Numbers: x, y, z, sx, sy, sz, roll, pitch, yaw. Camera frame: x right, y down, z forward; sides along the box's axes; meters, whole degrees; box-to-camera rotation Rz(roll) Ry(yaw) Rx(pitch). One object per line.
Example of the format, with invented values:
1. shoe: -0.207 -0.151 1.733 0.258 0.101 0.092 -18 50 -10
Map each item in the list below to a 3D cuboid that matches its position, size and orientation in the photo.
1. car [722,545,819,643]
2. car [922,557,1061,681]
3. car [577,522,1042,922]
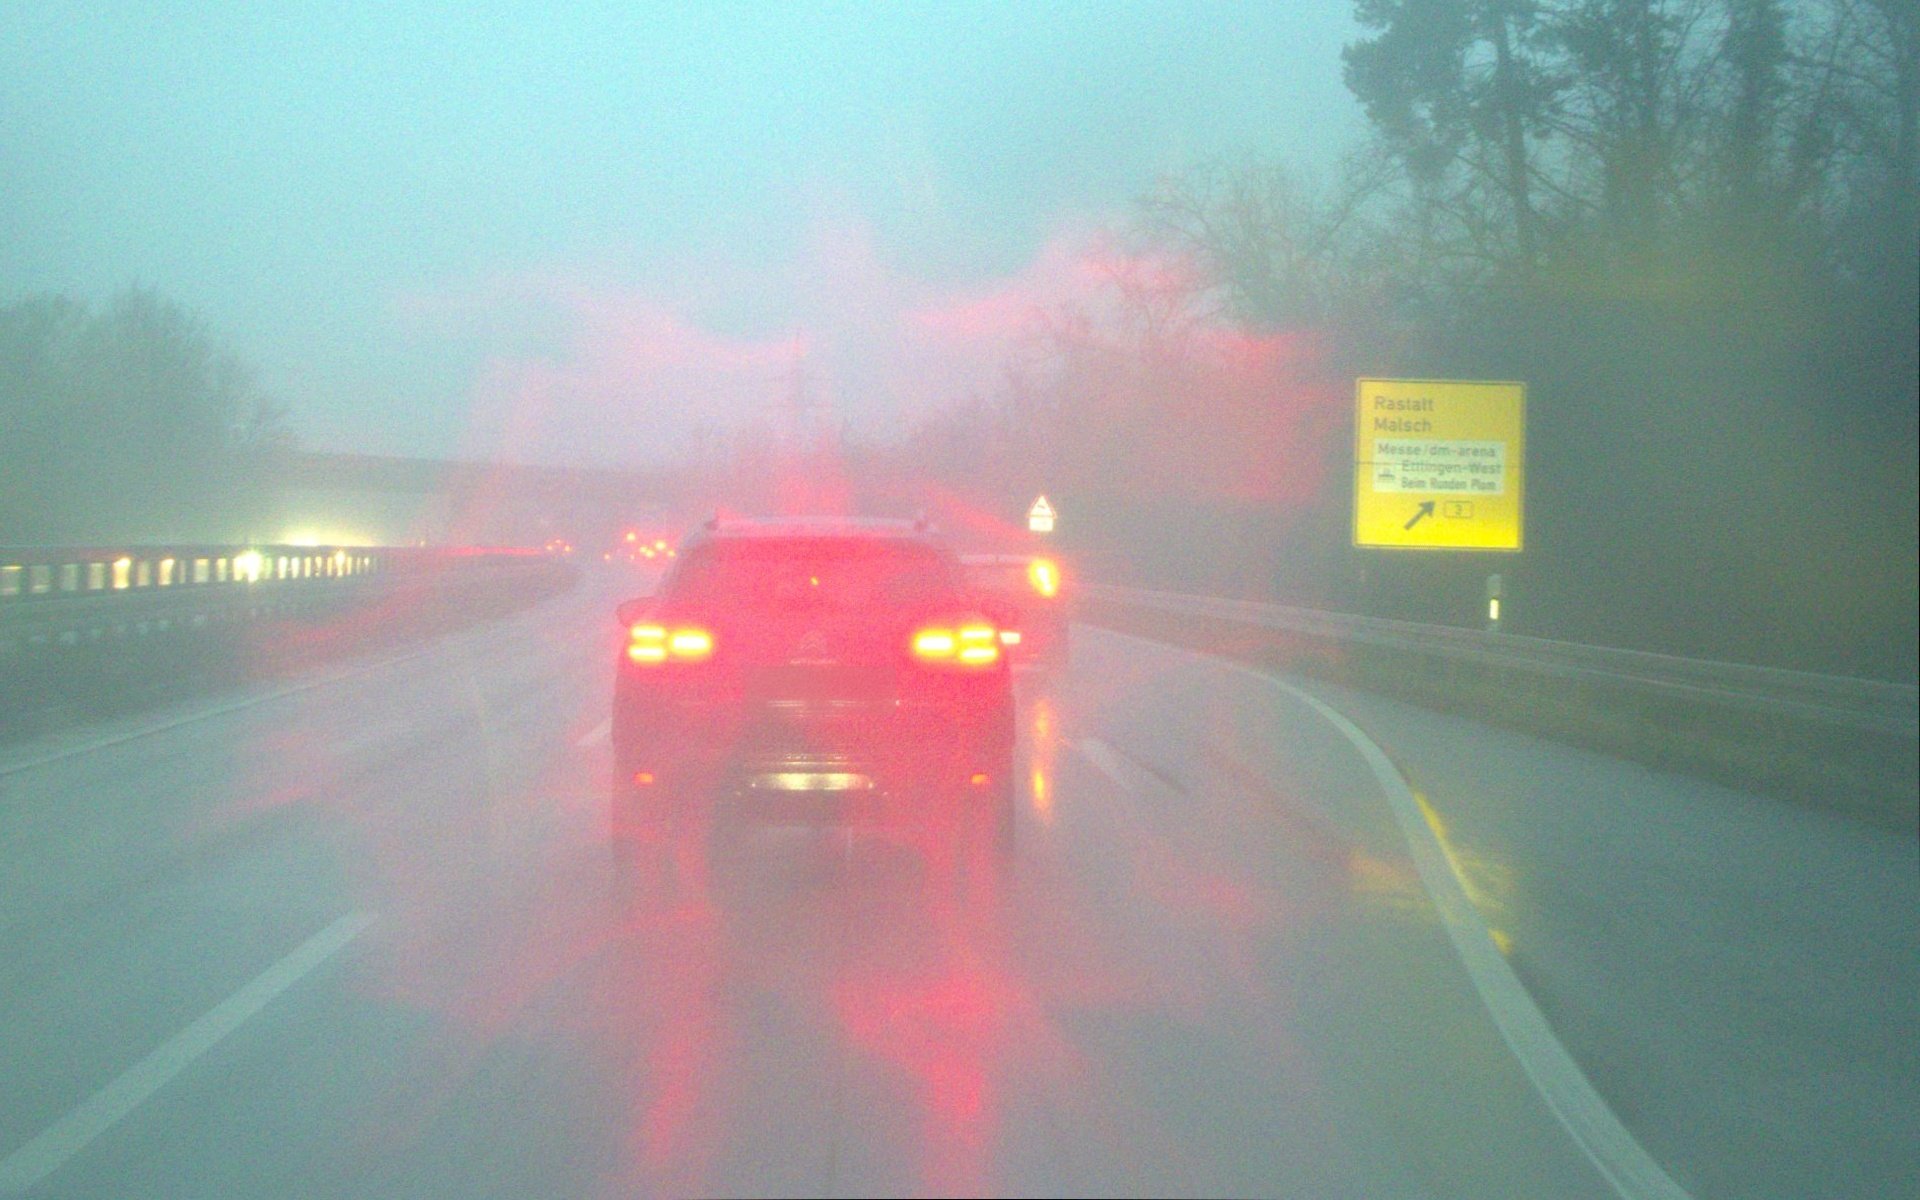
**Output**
1. car: -4.021 -0.148 73.501 1.993 2.007 4.000 1 1 -2
2. car: 0.360 0.195 41.013 1.569 1.403 3.646 1 1 0
3. car: -0.726 0.503 16.765 1.992 1.709 3.830 1 1 -2
